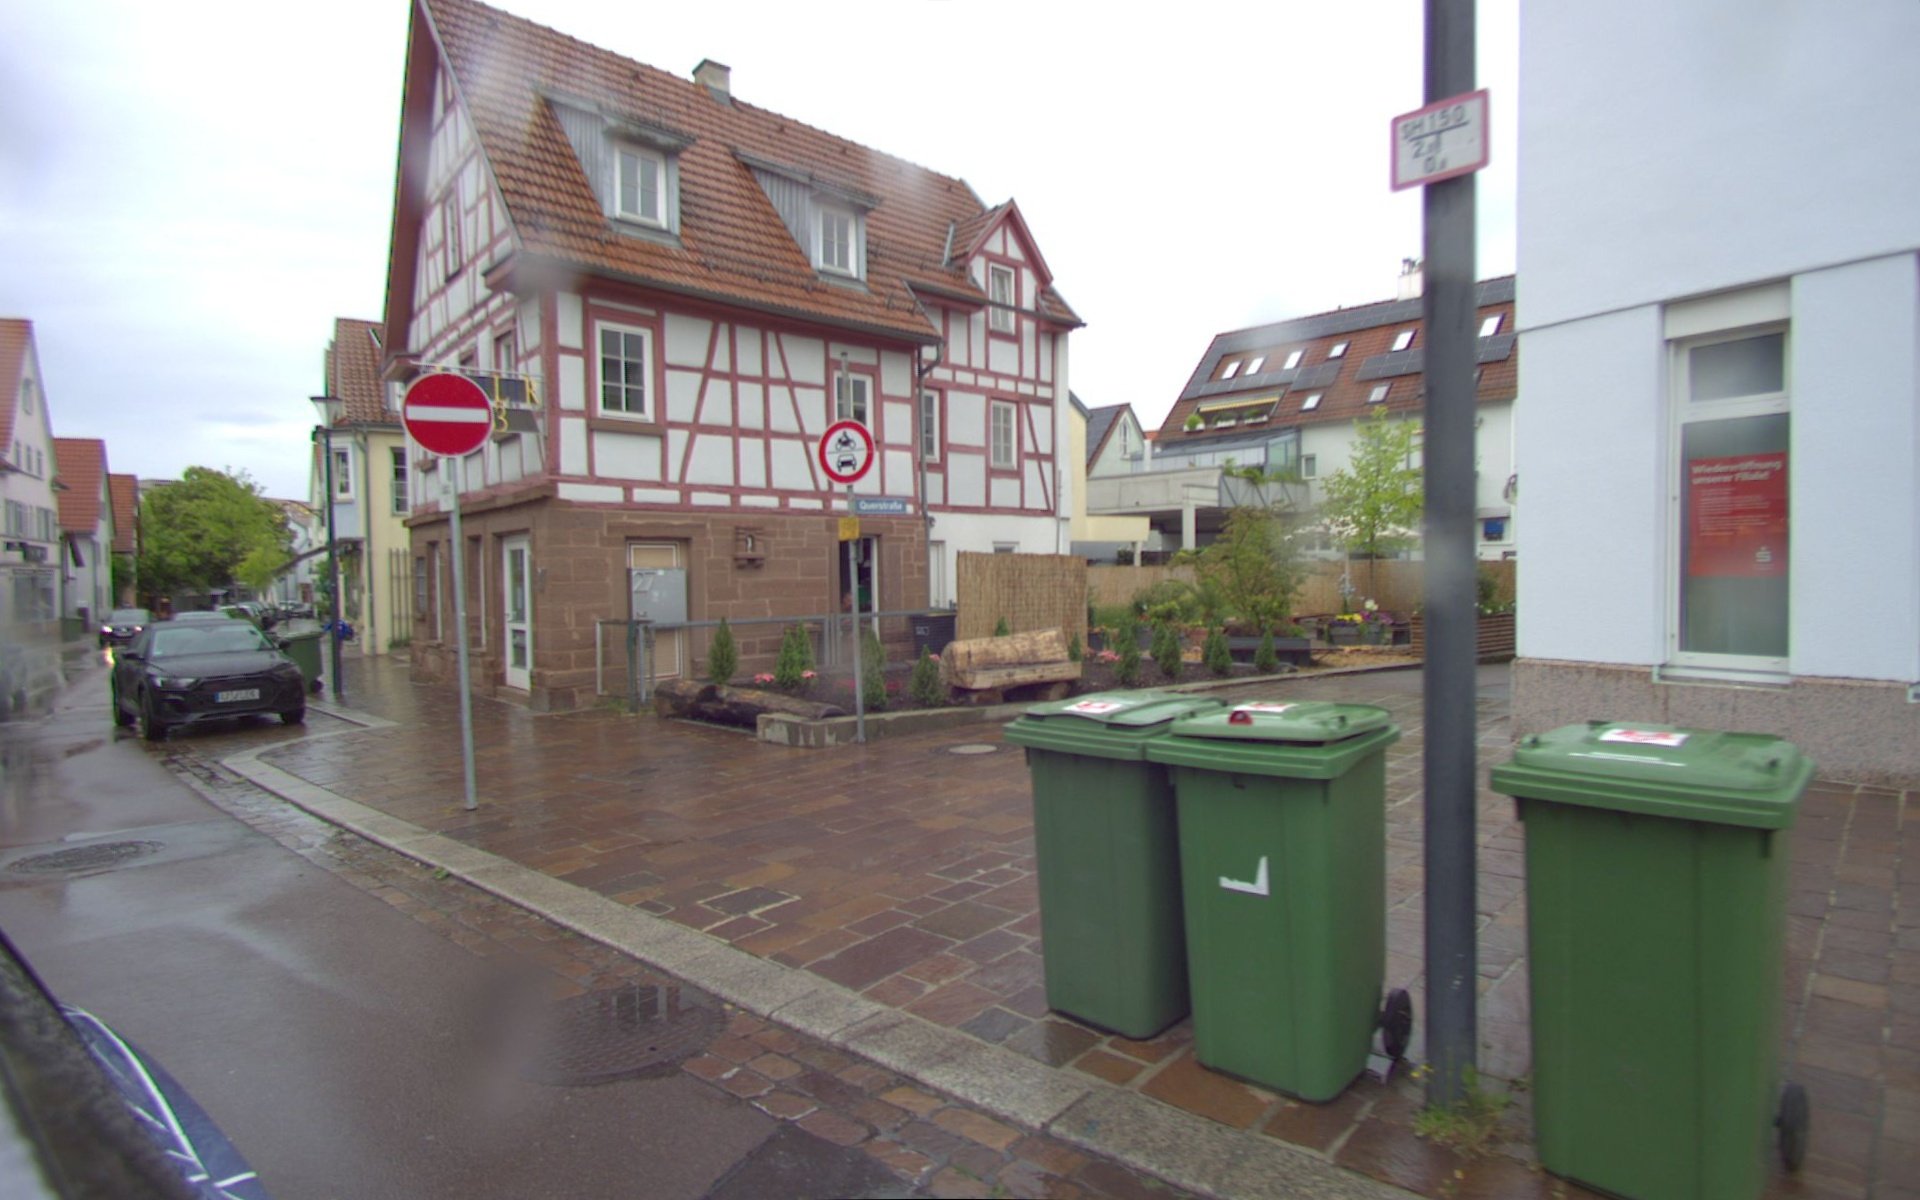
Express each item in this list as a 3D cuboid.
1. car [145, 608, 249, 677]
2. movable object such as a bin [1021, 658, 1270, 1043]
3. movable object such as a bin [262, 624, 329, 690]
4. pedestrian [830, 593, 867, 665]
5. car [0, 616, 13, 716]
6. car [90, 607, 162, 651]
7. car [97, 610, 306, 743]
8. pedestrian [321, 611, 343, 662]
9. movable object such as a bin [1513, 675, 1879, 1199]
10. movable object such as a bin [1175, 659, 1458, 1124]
[{"bbox_3d":[-20.043,1.041,26.678,1.968,1.540,4.009,-5,2,-36],"label":"car"},{"bbox_3d":[0.634,0.769,3.435,0.553,1.090,0.651,-1,0,44],"label":"movable object such as a bin"},{"bbox_3d":[-11.862,0.996,18.063,0.823,1.120,0.920,-1,0,-44],"label":"movable object such as a bin"},{"bbox_3d":[-1.844,0.474,16.673,0.406,1.163,0.425,-1,0,-42],"label":"pedestrian"},{"bbox_3d":[-17.125,1.082,16.982,1.711,1.567,3.849,-1,0,-42],"label":"car"},{"bbox_3d":[-35.767,1.214,43.495,1.966,1.763,4.011,-1,0,-33],"label":"car"},{"bbox_3d":[-10.560,0.928,13.981,4.001,1.497,1.671,-1,2,44],"label":"car"},{"bbox_3d":[-16.613,0.953,26.771,0.448,1.317,0.518,-1,0,-36],"label":"pedestrian"},{"bbox_3d":[1.726,0.763,2.366,0.613,1.104,0.651,-1,0,42],"label":"movable object such as a bin"},{"bbox_3d":[1.058,0.763,2.987,0.553,1.123,0.651,-1,0,44],"label":"movable object such as a bin"}]
